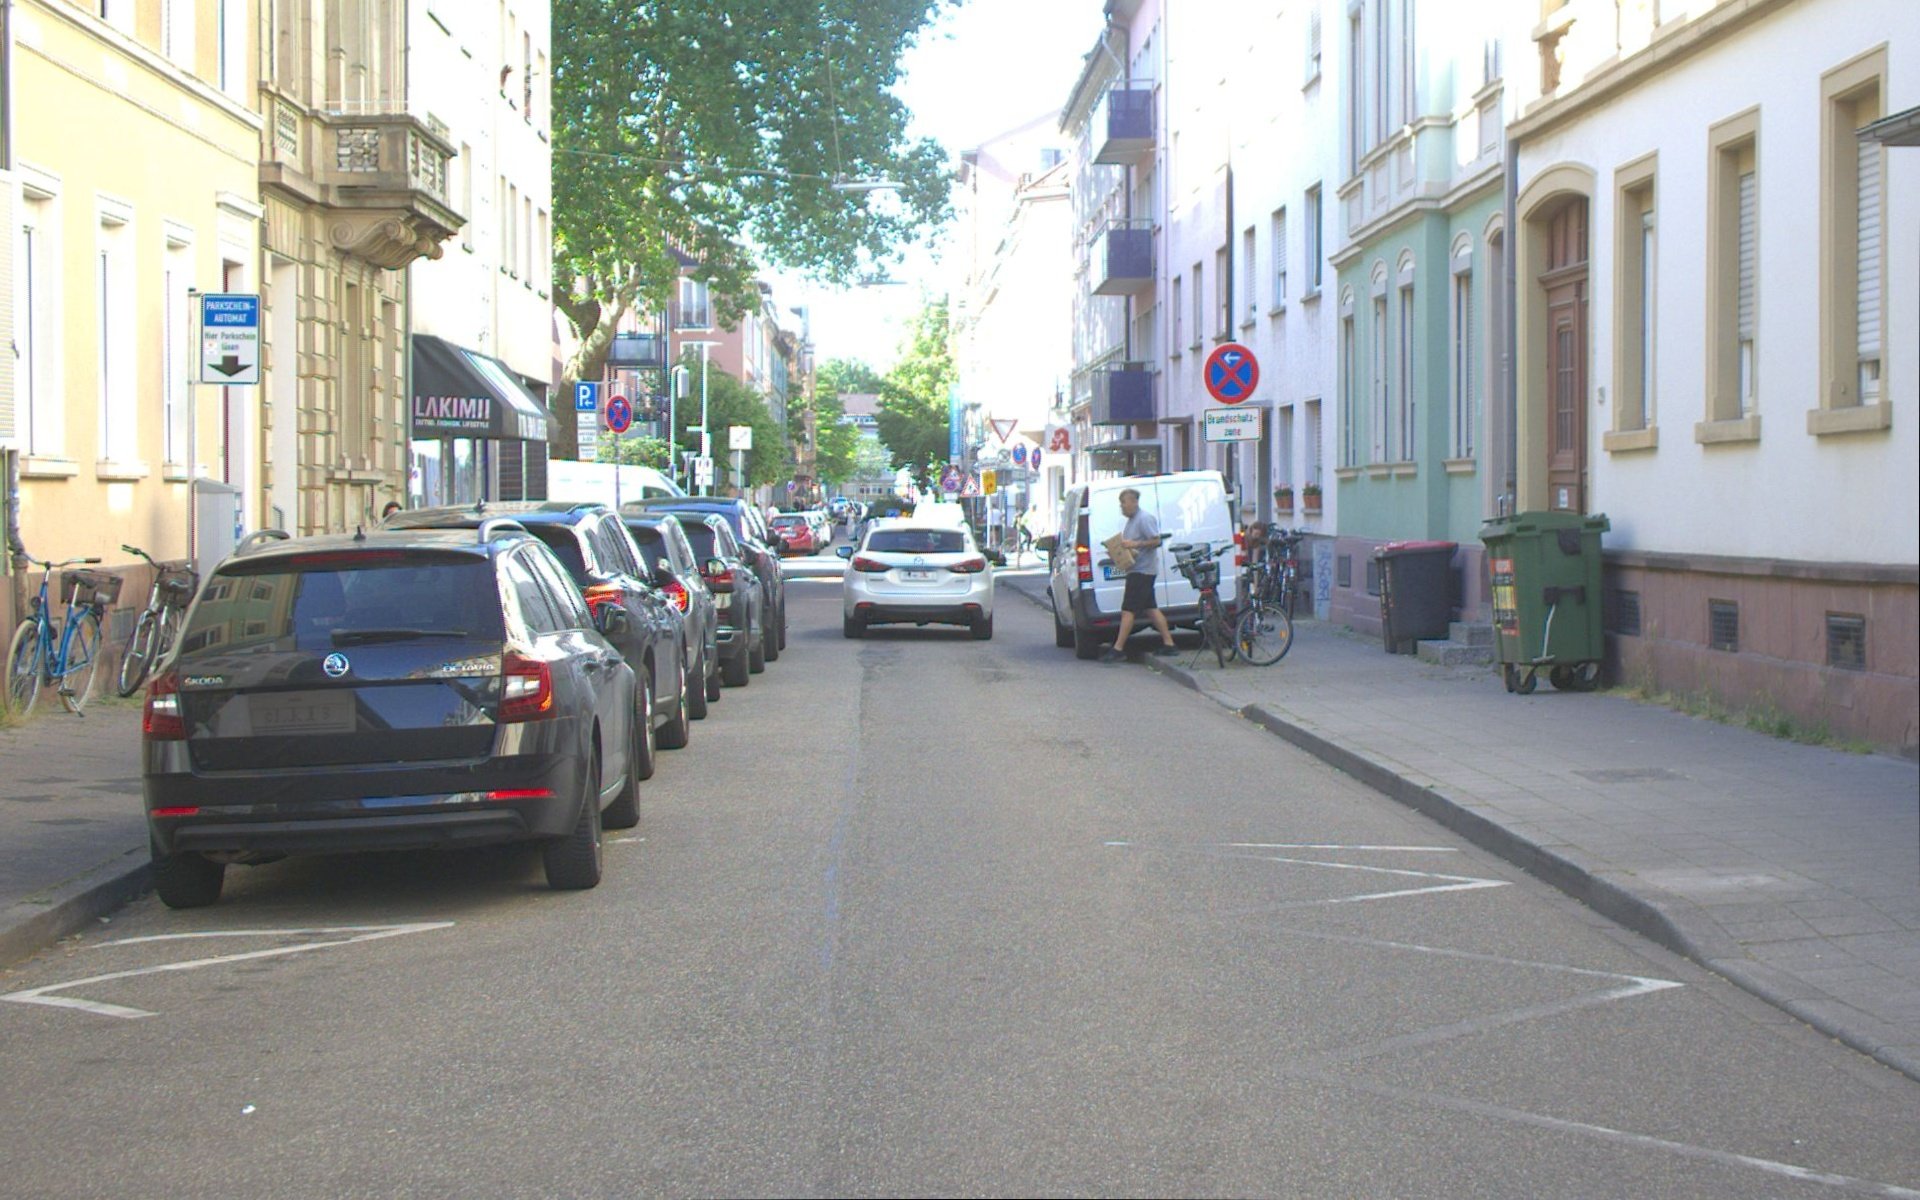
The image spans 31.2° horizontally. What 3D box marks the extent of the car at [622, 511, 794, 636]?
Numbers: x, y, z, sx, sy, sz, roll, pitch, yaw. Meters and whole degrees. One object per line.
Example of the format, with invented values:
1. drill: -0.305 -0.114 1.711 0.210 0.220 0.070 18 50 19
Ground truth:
1. car: -3.066 -0.358 42.694 1.845 1.412 4.818 -2 1 -1

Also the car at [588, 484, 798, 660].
1. car: -2.788 -0.354 36.898 1.936 1.730 5.143 -1 2 -1

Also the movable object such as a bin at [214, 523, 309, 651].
1. movable object such as a bin: -6.143 -0.122 30.251 0.735 1.085 0.683 0 3 -5

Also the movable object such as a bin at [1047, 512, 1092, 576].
1. movable object such as a bin: 1.859 -0.945 58.240 0.732 1.077 0.703 0 1 0

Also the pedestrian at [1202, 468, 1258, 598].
1. pedestrian: 3.569 -0.880 45.415 0.655 1.705 0.686 0 1 11

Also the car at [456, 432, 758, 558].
1. car: -8.264 -2.461 80.862 6.739 2.546 2.146 3 1 1

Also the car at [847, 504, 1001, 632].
1. car: -0.485 -0.436 42.776 1.823 1.509 3.824 0 2 -2

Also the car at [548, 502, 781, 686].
1. car: -2.624 -0.110 31.385 1.713 1.526 4.367 -1 2 0

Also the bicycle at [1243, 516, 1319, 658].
1. bicycle: 3.037 -0.147 32.675 0.575 1.266 2.199 -2 2 3

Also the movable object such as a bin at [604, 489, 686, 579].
1. movable object such as a bin: -5.331 -1.120 58.275 1.296 1.493 1.179 1 1 -1

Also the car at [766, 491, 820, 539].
1. car: -5.697 -2.930 117.668 1.769 1.583 3.727 0 3 -2

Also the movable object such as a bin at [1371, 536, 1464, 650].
1. movable object such as a bin: 4.415 -0.071 33.220 0.812 1.084 0.674 0 1 1

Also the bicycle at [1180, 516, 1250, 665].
1. bicycle: 2.389 -0.114 32.344 0.575 1.316 2.199 -1 2 2

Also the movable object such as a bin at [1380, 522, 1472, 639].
1. movable object such as a bin: 4.407 -0.191 32.547 0.797 1.092 0.642 0 1 1

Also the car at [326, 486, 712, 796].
1. car: -2.538 0.145 20.824 1.744 1.609 4.603 -1 2 0

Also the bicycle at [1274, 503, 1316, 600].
1. bicycle: 4.286 -0.627 44.041 0.405 1.202 2.159 0 1 2

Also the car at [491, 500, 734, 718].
1. car: -2.620 0.007 26.618 1.615 1.548 3.978 0 2 -2

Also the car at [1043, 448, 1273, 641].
1. car: 2.117 -0.669 38.291 1.983 1.877 5.600 -4 2 -1

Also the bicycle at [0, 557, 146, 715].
1. bicycle: -6.120 0.224 23.576 0.361 1.025 1.917 0 1 8

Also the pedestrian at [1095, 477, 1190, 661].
1. pedestrian: 1.835 -0.322 34.690 0.866 1.830 0.884 0 1 -3

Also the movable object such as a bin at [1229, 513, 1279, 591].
1. movable object such as a bin: 4.133 -0.677 48.342 0.616 1.058 0.603 -2 2 -1

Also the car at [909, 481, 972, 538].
1. car: -0.699 -3.179 120.953 1.942 1.941 4.079 1 2 -4

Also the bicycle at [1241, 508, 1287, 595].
1. bicycle: 4.098 -0.665 46.463 0.568 1.149 1.868 0 1 3

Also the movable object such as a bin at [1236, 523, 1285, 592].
1. movable object such as a bin: 4.171 -0.591 47.735 0.577 0.921 0.608 -2 2 -1

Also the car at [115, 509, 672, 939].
1. car: -2.266 0.388 14.971 1.713 1.483 4.853 -3 2 -2

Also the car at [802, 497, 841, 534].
1. car: -6.040 -3.674 149.882 1.572 1.580 3.611 0 1 -1

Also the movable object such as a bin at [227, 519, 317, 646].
1. movable object such as a bin: -6.175 -0.166 30.870 0.719 1.128 0.585 0 1 -5

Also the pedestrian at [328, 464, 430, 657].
1. pedestrian: -5.261 -0.367 31.170 0.764 1.708 0.883 1 2 -2

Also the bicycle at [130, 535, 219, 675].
1. bicycle: -6.136 0.021 26.923 0.402 1.052 1.837 0 1 -4

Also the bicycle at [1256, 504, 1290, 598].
1. bicycle: 4.135 -0.653 45.374 0.438 1.202 2.266 0 1 6

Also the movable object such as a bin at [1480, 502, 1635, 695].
1. movable object such as a bin: 4.494 -0.012 25.951 0.837 1.385 1.297 -3 0 -2
